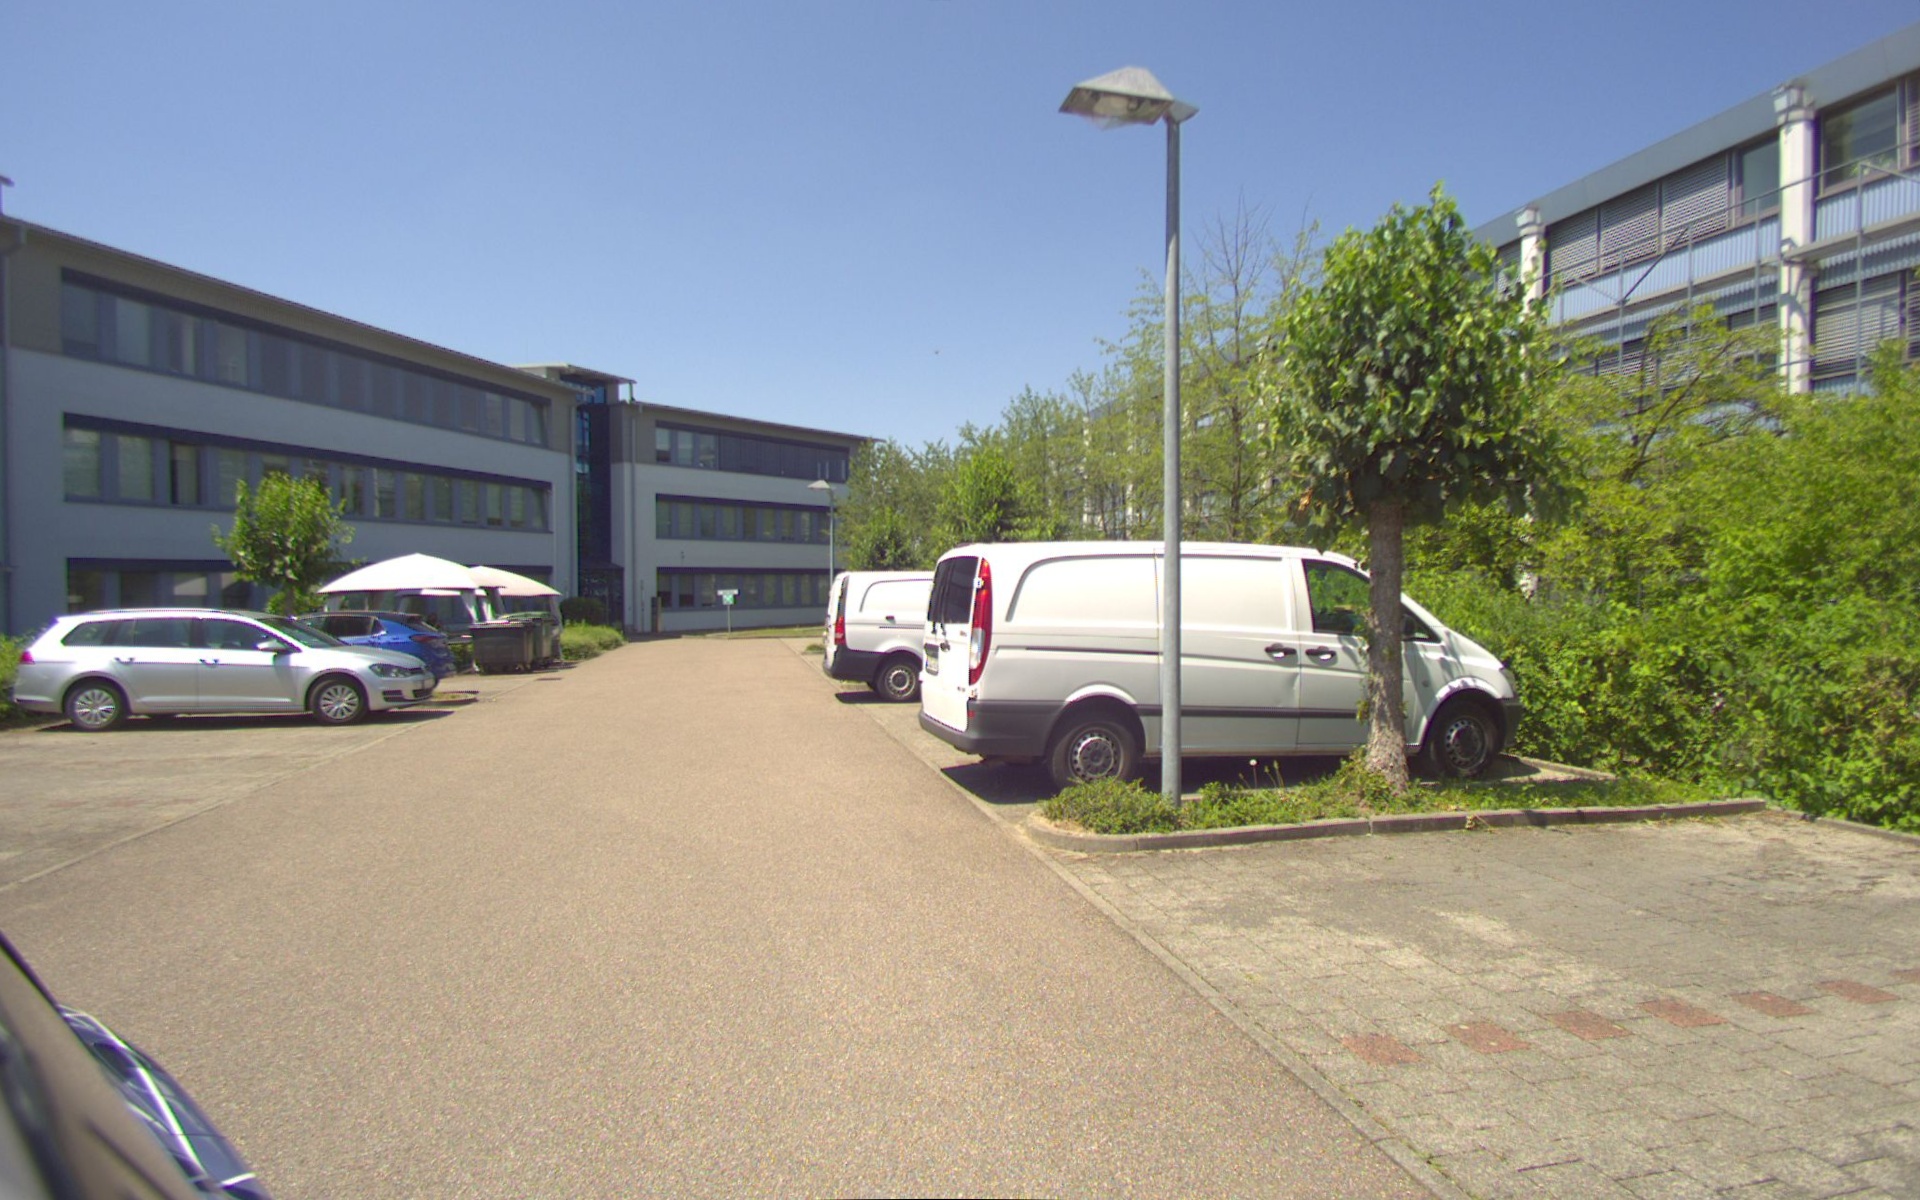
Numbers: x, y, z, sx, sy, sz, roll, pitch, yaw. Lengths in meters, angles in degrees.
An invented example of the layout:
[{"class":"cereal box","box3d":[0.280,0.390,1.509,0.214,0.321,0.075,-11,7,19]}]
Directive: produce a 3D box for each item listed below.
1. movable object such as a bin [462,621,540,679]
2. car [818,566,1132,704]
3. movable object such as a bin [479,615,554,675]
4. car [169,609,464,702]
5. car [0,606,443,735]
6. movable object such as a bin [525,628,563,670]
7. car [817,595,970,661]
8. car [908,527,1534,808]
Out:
[{"class":"movable object such as a bin","box3d":[-10.073,1.090,22.258,1.343,1.198,0.999,-1,0,-8]},{"class":"car","box3d":[0.168,0.468,15.459,4.445,1.896,1.834,-1,0,-14]},{"class":"movable object such as a bin","box3d":[-10.203,1.012,23.310,1.343,1.306,1.045,-1,0,-8]},{"class":"car","box3d":[-10.424,0.874,16.680,3.763,1.402,1.656,1,0,-14]},{"class":"car","box3d":[-9.409,0.841,13.201,4.445,1.508,1.834,0,0,-14]},{"class":"movable object such as a bin","box3d":[-9.960,1.174,24.270,0.680,0.956,0.723,-1,0,-8]},{"class":"car","box3d":[-1.754,0.696,26.265,3.702,1.569,1.665,-1,0,-14]},{"class":"car","box3d":[2.051,0.433,8.359,4.656,1.920,1.834,-1,0,-14]}]
